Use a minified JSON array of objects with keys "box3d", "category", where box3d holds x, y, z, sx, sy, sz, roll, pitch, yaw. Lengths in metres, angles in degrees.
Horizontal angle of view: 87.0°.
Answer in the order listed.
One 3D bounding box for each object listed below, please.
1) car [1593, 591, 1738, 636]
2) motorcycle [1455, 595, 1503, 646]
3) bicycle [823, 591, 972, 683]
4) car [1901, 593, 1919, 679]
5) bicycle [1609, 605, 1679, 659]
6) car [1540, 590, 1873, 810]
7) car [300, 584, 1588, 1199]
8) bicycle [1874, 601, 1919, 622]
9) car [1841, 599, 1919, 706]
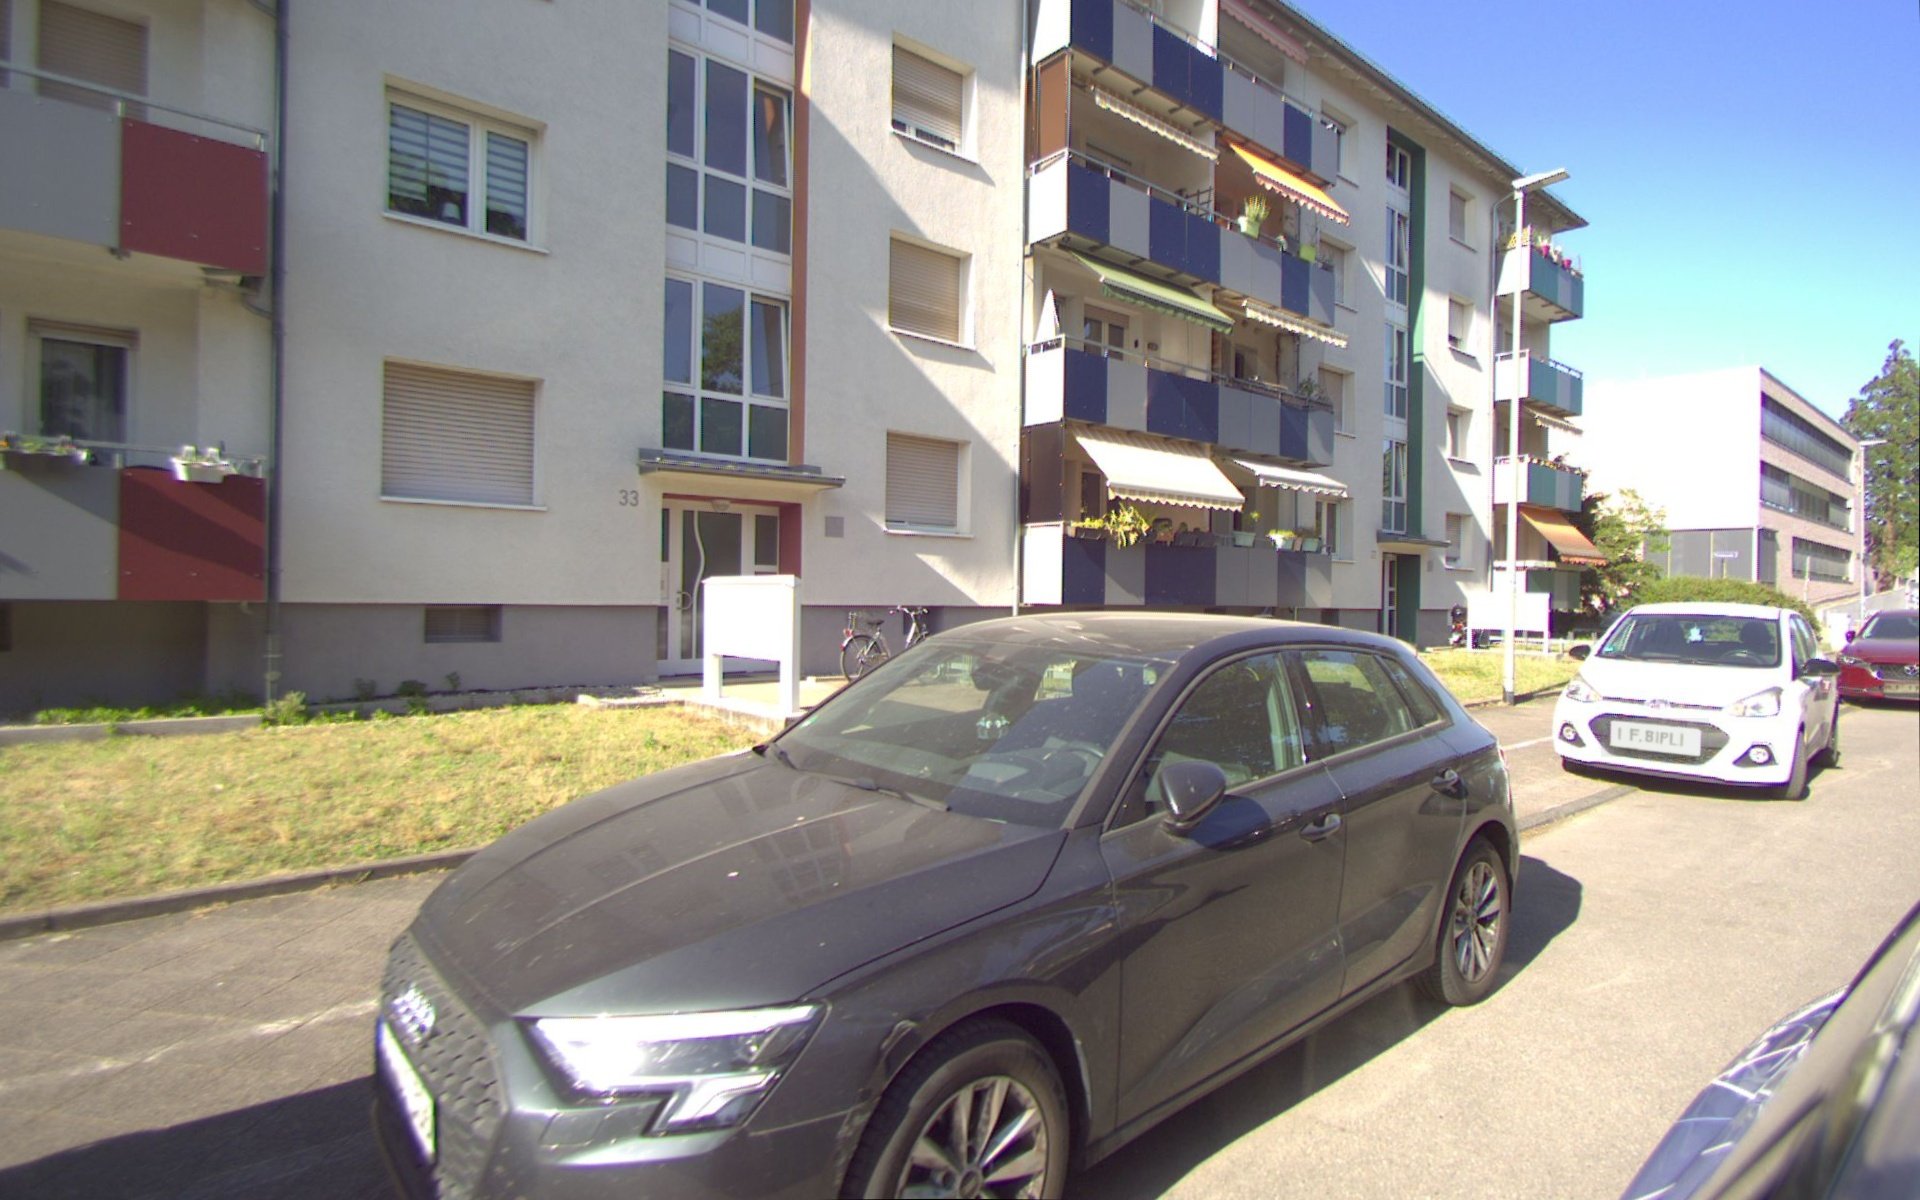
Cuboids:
[{"box3d":[27.791,0.495,39.972,1.881,1.644,4.413,0,1,-42],"category":"car"},{"box3d":[12.474,0.459,24.307,0.582,1.166,2.007,1,1,40],"category":"motorcycle"},{"box3d":[-0.774,0.443,13.066,1.975,1.084,0.524,0,3,-41],"category":"bicycle"},{"box3d":[19.437,0.659,19.342,4.418,1.553,1.875,0,1,-44],"category":"car"},{"box3d":[14.726,0.669,21.766,1.862,1.091,0.721,0,0,-39],"category":"bicycle"},{"box3d":[6.795,0.693,9.063,3.796,1.517,1.750,0,1,-44],"category":"car"},{"box3d":[0.461,0.723,3.494,4.394,1.453,1.702,0,2,-42],"category":"car"},{"box3d":[55.543,0.648,59.869,0.867,1.076,2.029,0,4,-40],"category":"bicycle"},{"box3d":[15.328,0.743,15.694,4.976,1.491,1.846,0,1,-41],"category":"car"}]
